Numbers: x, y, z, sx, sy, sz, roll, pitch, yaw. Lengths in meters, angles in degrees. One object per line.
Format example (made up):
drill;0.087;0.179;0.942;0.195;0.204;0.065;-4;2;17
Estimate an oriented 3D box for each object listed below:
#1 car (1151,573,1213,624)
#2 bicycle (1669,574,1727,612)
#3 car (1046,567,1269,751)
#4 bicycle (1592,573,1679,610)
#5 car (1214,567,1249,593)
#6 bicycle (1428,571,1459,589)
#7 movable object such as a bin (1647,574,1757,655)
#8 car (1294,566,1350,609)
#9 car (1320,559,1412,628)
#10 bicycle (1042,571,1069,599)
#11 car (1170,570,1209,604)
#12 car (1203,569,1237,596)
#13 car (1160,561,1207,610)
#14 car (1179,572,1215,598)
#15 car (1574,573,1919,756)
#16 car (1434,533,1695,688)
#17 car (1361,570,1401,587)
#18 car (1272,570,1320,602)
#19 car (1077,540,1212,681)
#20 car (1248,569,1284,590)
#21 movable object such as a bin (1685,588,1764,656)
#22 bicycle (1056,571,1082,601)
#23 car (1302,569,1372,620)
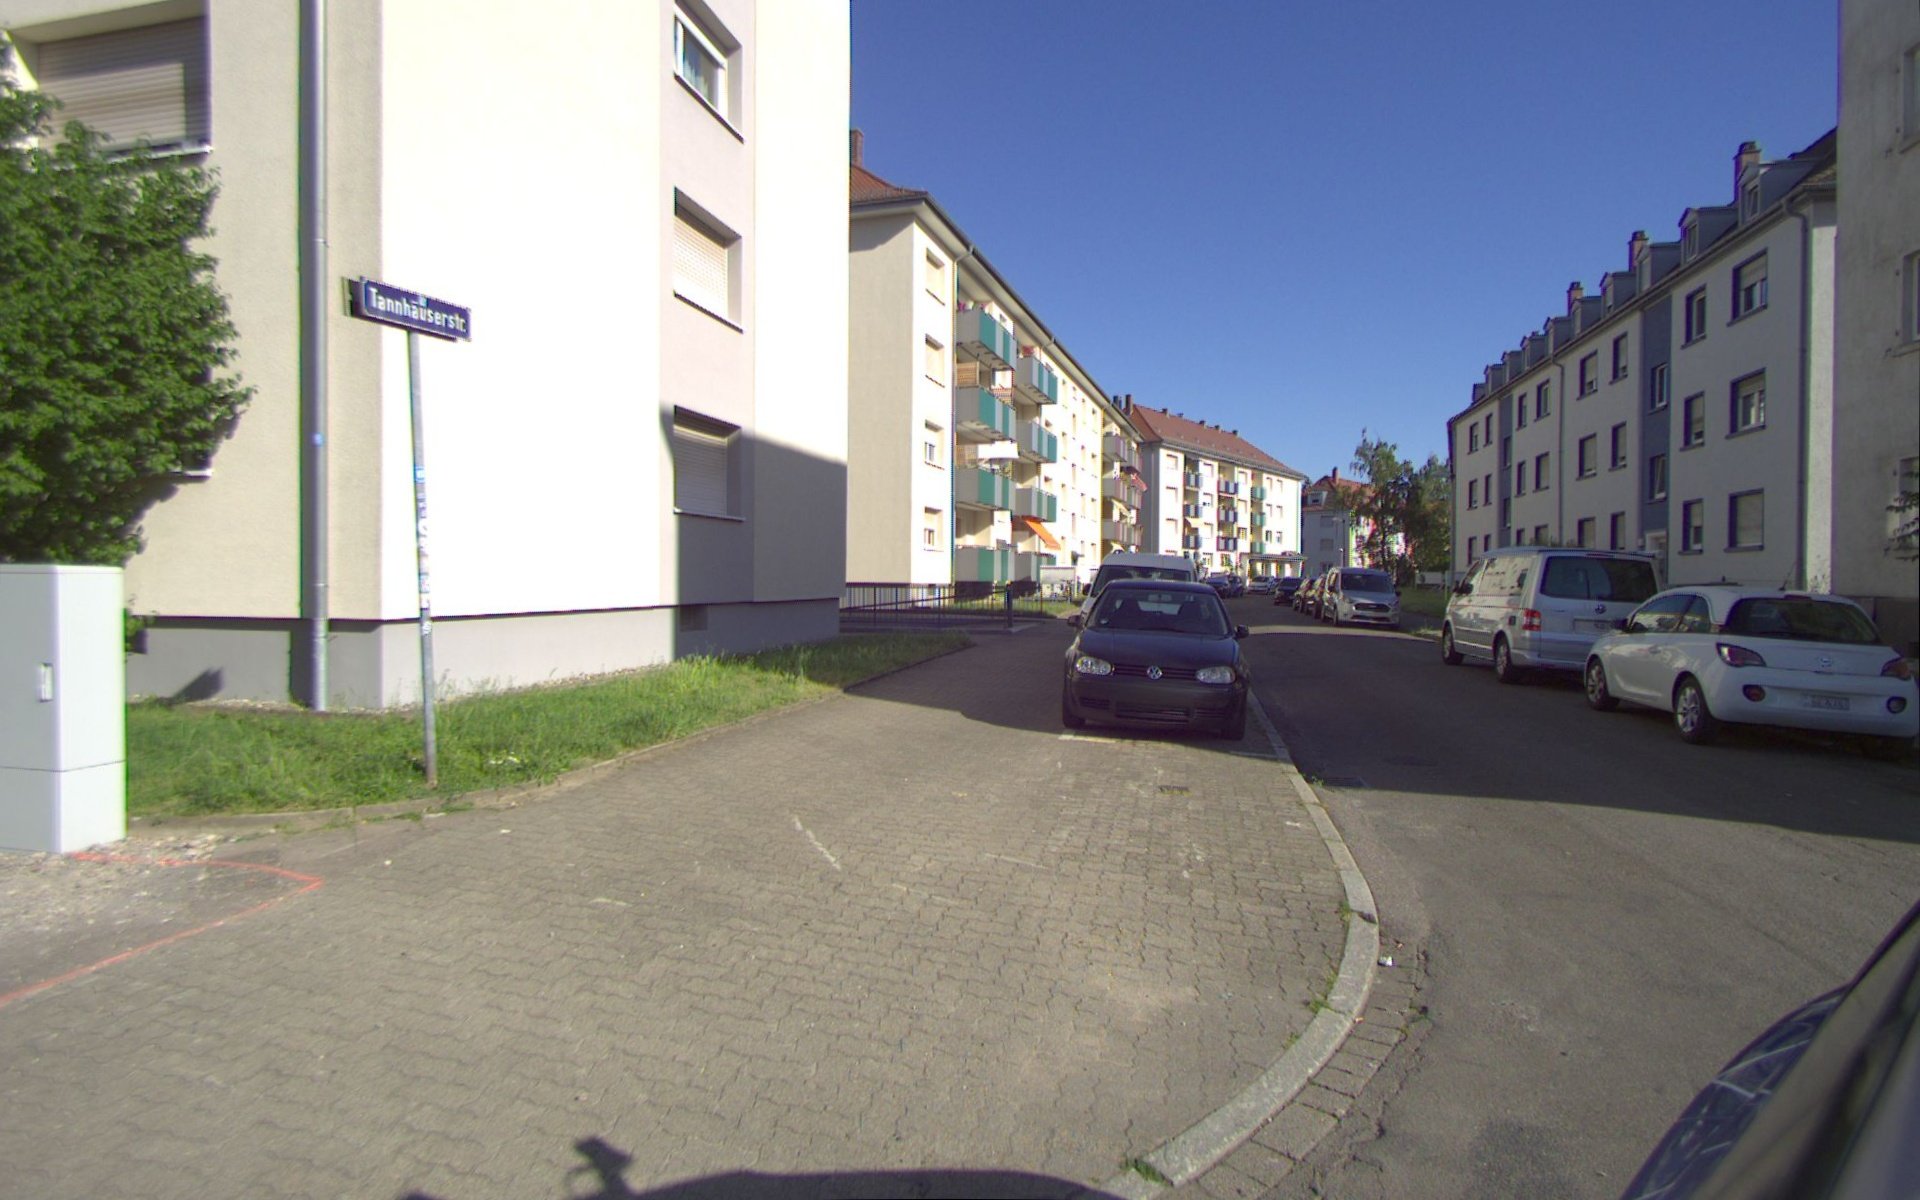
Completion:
car;6.880;-0.102;31.643;1.720;1.424;4.300;2;2;11
bicycle;20.406;-0.213;28.009;0.493;0.973;2.066;-3;1;14
car;2.063;0.425;10.506;1.776;1.432;4.035;3;2;12
bicycle;19.979;-0.240;29.979;2.043;0.973;0.498;-3;0;14
car;20.150;-1.453;75.003;1.740;1.757;3.966;-4;-1;25
bicycle;30.013;-1.216;62.836;1.719;1.002;0.458;-3;0;28
movable object such as a bin;13.124;0.238;17.954;1.240;1.394;1.041;-1;1;13
car;14.516;-0.531;40.756;1.625;1.537;3.688;4;2;13
car;12.215;-0.250;30.754;1.779;1.852;4.930;3;2;13
bicycle;3.737;-0.587;39.371;0.500;1.057;2.061;-1;1;21
car;10.832;-0.630;47.597;1.621;1.477;3.842;2;2;15
car;17.976;-1.223;69.871;1.566;1.784;4.205;2;2;24
car;9.389;-0.642;42.512;1.738;1.862;4.902;2;2;13
car;14.159;-0.900;60.354;1.658;1.437;3.836;2;2;20
car;7.898;0.487;10.345;1.667;1.477;3.706;2;2;14
car;9.023;0.062;15.657;1.927;1.957;4.839;2;2;12
car;39.359;-2.006;94.595;3.904;1.443;1.576;1;3;-37
car;16.837;-0.739;50.871;1.879;1.476;4.377;3;2;14
car;3.106;0.073;16.312;1.777;1.868;4.520;3;2;14
car;26.051;-1.729;85.947;1.746;1.654;4.353;3;2;33
movable object such as a bin;12.731;0.352;16.871;0.763;1.092;0.813;-1;1;13
bicycle;4.233;-0.572;39.126;0.500;1.106;2.061;-1;1;21
car;13.485;-0.260;36.385;1.653;1.610;4.150;4;2;12
